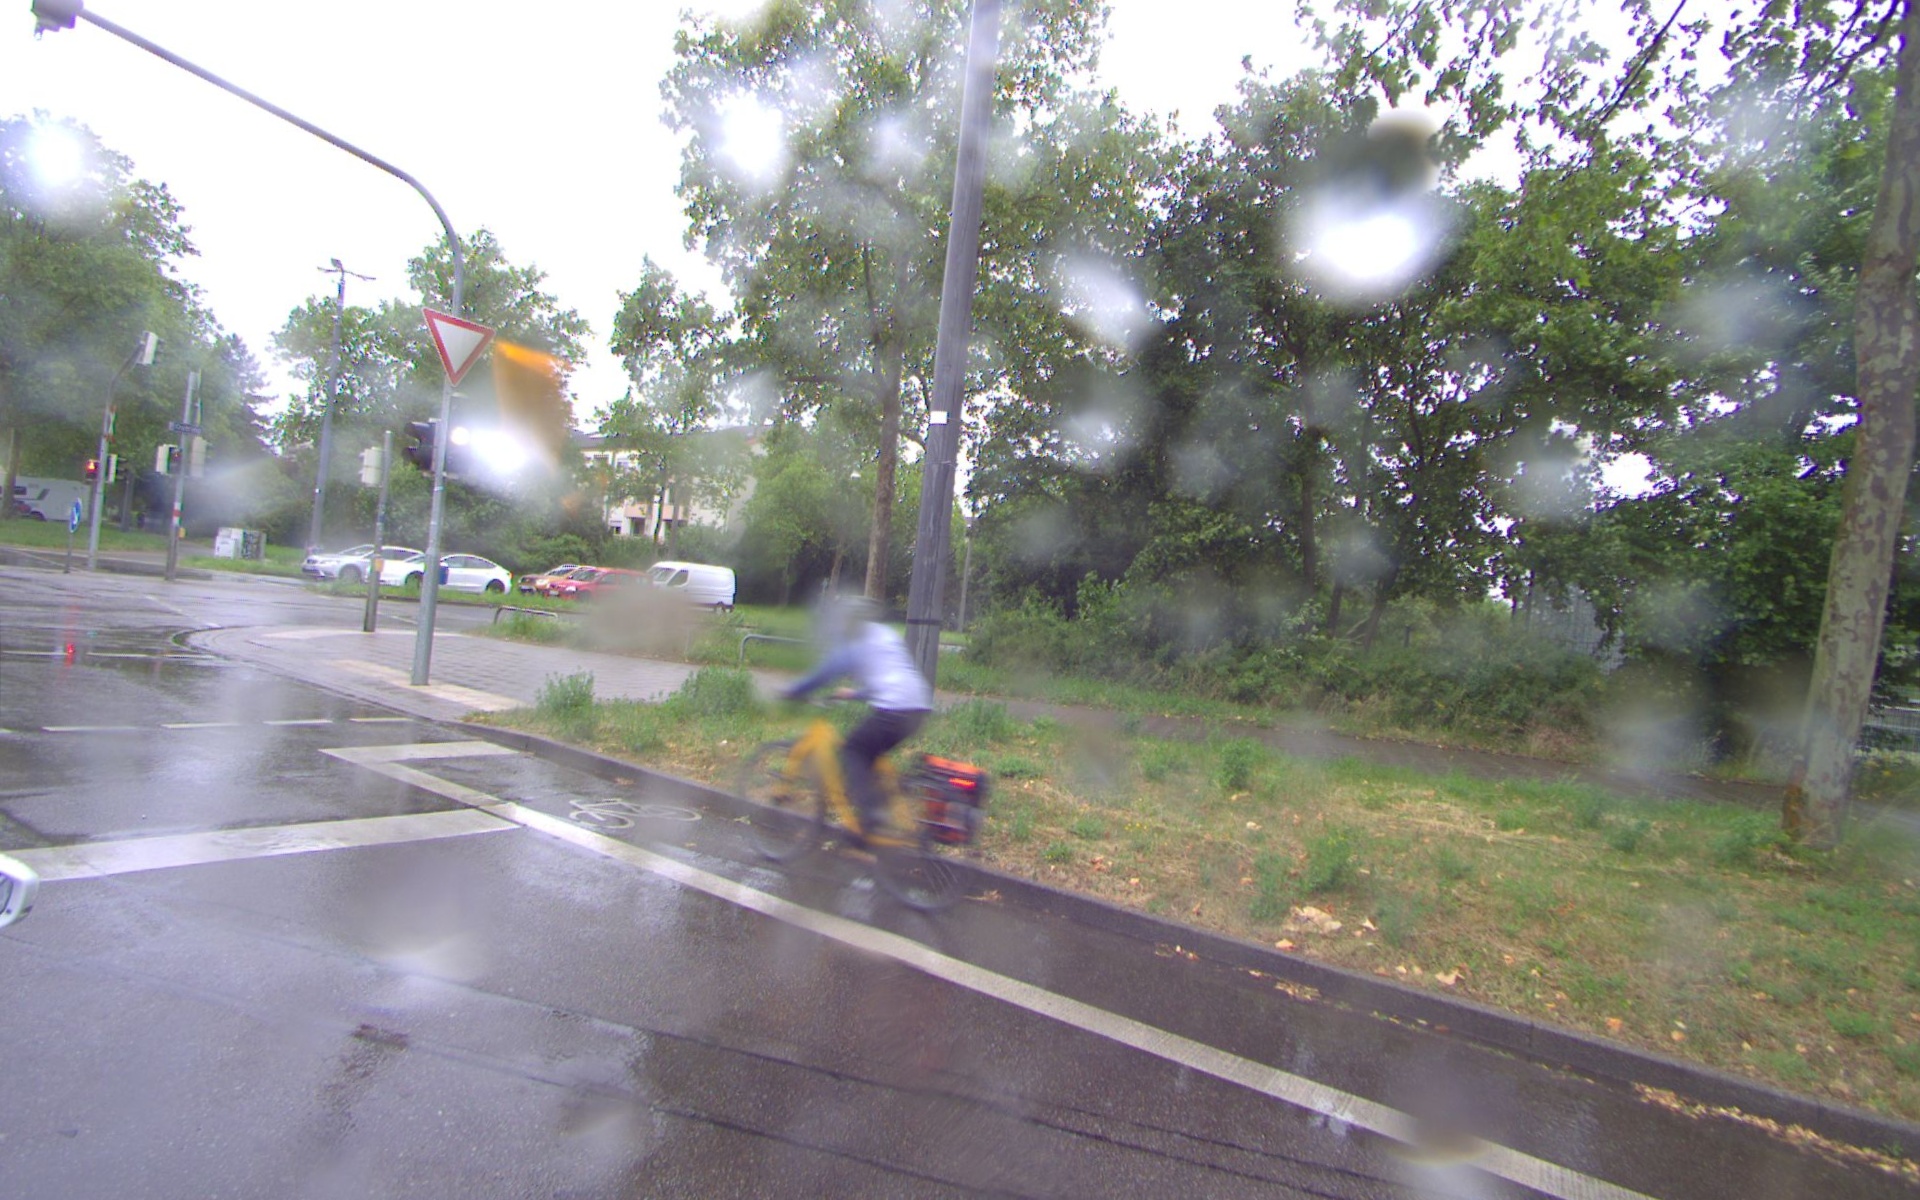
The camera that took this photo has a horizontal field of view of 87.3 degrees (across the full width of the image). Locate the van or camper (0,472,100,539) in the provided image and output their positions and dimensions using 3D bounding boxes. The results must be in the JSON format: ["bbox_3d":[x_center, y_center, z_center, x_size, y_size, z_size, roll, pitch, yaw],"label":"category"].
[{"bbox_3d":[-56.924,-5.913,60.697,7.296,3.215,3.226,9,-2,-40],"label":"van or camper"}]

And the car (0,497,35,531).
[{"bbox_3d":[-55.795,-5.147,57.148,4.424,1.736,1.980,9,-2,-37],"label":"car"}]

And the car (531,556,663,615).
[{"bbox_3d":[-13.830,-0.523,38.628,1.760,1.625,4.615,6,-2,29],"label":"car"}]

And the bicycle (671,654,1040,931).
[{"bbox_3d":[-0.602,0.981,5.584,1.852,1.130,0.692,6,-1,27],"label":"bicycle"}]

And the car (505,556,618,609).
[{"bbox_3d":[-16.386,-0.693,41.571,1.759,1.625,4.069,7,-2,26],"label":"car"}]

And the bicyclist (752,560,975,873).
[{"bbox_3d":[-0.521,0.608,5.566,0.829,1.523,0.692,6,-1,27],"label":"bicyclist"}]

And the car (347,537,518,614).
[{"bbox_3d":[-17.148,-0.747,32.982,1.900,1.849,4.608,7,-2,26],"label":"car"}]

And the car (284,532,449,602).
[{"bbox_3d":[-20.156,-1.070,34.377,1.900,1.710,4.407,7,-2,26],"label":"car"}]

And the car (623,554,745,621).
[{"bbox_3d":[-12.952,-0.542,47.647,1.966,2.419,5.619,6,-2,29],"label":"car"}]

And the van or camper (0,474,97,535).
[{"bbox_3d":[-63.247,-6.622,67.608,7.388,3.215,3.231,9,-2,-36],"label":"van or camper"}]
